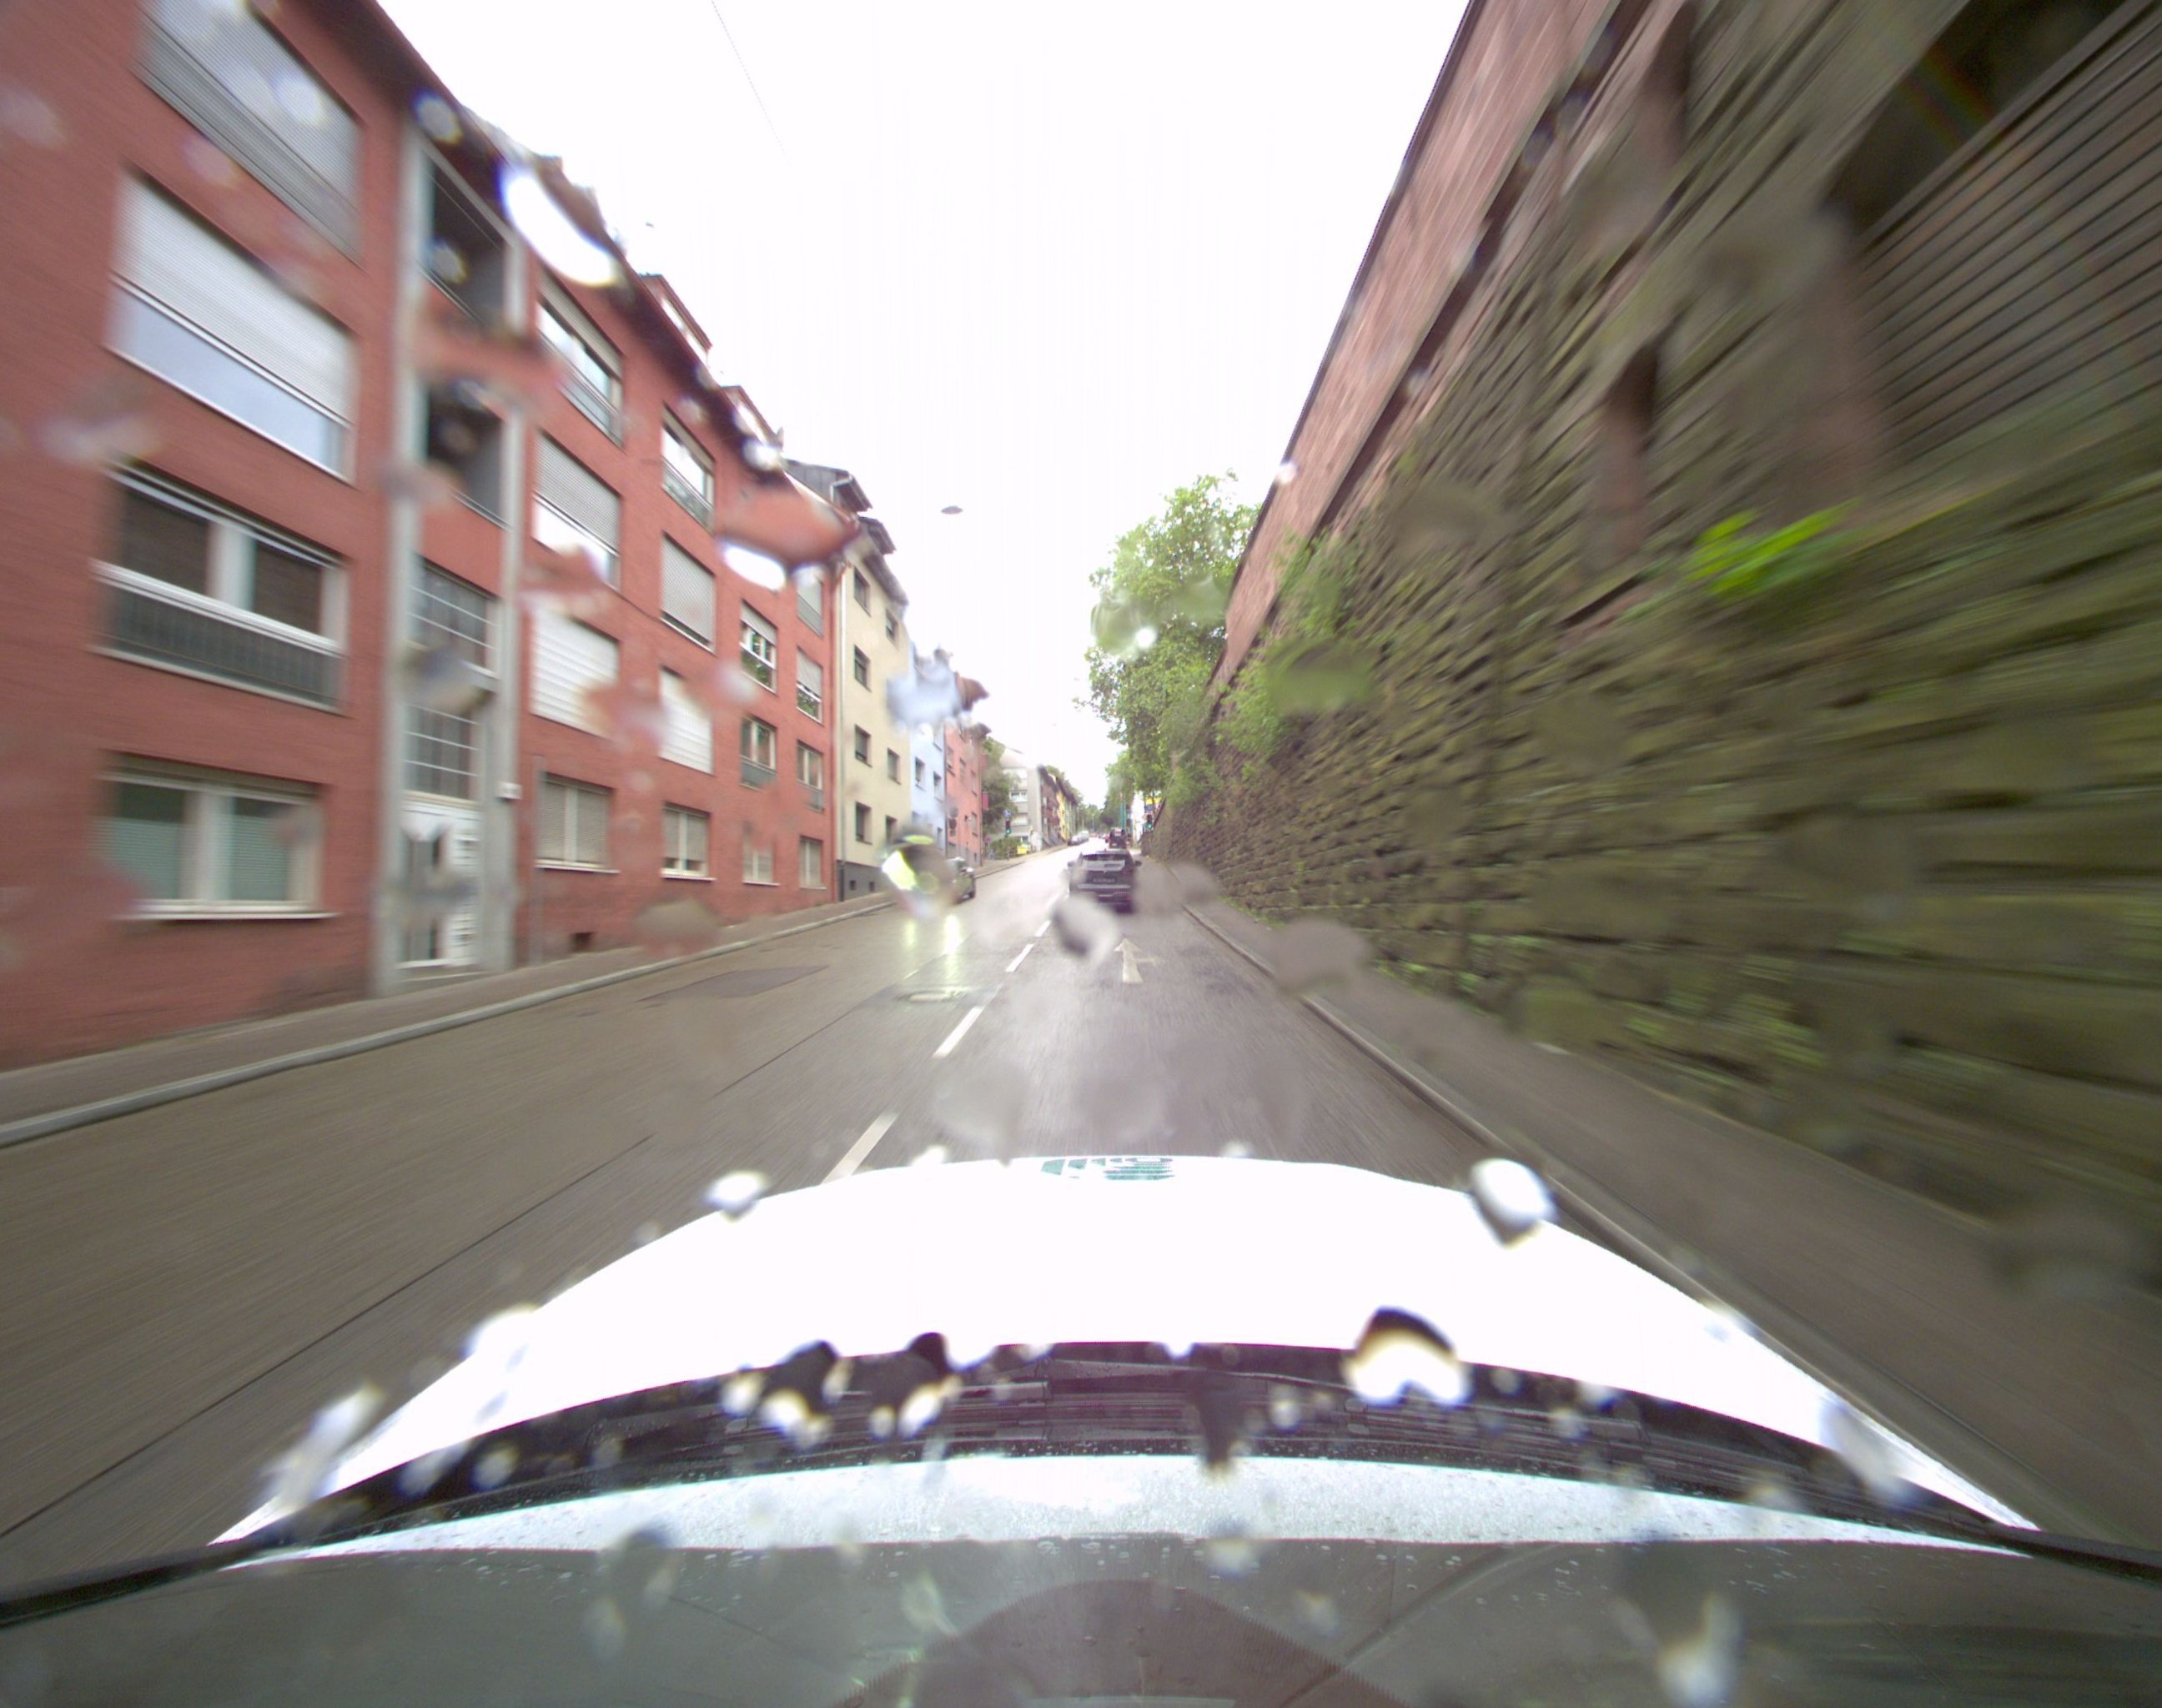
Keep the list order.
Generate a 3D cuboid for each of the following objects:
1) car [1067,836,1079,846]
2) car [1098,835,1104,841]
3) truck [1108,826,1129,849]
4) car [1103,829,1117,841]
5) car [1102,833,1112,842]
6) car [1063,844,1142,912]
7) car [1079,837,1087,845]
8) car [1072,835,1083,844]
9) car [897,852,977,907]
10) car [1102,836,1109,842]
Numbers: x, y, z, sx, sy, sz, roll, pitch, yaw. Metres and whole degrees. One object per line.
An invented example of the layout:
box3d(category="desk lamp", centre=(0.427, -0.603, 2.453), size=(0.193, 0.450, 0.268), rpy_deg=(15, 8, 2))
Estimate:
box3d(category="car", centre=(-1.390, -2.232, 137.788), size=(1.787, 1.510, 4.002), rpy_deg=(-3, 0, 2))
box3d(category="car", centre=(6.111, -4.823, 245.785), size=(1.787, 1.510, 4.002), rpy_deg=(-3, 0, 2))
box3d(category="truck", centre=(4.297, -1.880, 93.288), size=(2.281, 2.440, 4.454), rpy_deg=(-3, 0, 2))
box3d(category="car", centre=(3.851, -2.507, 108.112), size=(1.787, 1.510, 4.502), rpy_deg=(-3, 0, 2))
box3d(category="car", centre=(5.040, -3.105, 155.386), size=(1.787, 1.510, 4.002), rpy_deg=(-3, 0, 2))
box3d(category="car", centre=(0.512, 0.584, 21.838), size=(1.875, 1.594, 3.919), rpy_deg=(-2, 0, -1))
box3d(category="car", centre=(0.457, -2.913, 181.881), size=(1.787, 1.510, 4.002), rpy_deg=(-3, 0, 2))
box3d(category="car", centre=(-0.701, -2.782, 157.798), size=(1.787, 1.510, 4.002), rpy_deg=(-3, 0, 2))
box3d(category="car", centre=(-4.470, 0.742, 25.844), size=(1.708, 1.447, 3.922), rpy_deg=(-3, 1, 1))
box3d(category="car", centre=(6.679, -4.026, 218.916), size=(1.787, 1.510, 4.002), rpy_deg=(-3, 0, 2))
